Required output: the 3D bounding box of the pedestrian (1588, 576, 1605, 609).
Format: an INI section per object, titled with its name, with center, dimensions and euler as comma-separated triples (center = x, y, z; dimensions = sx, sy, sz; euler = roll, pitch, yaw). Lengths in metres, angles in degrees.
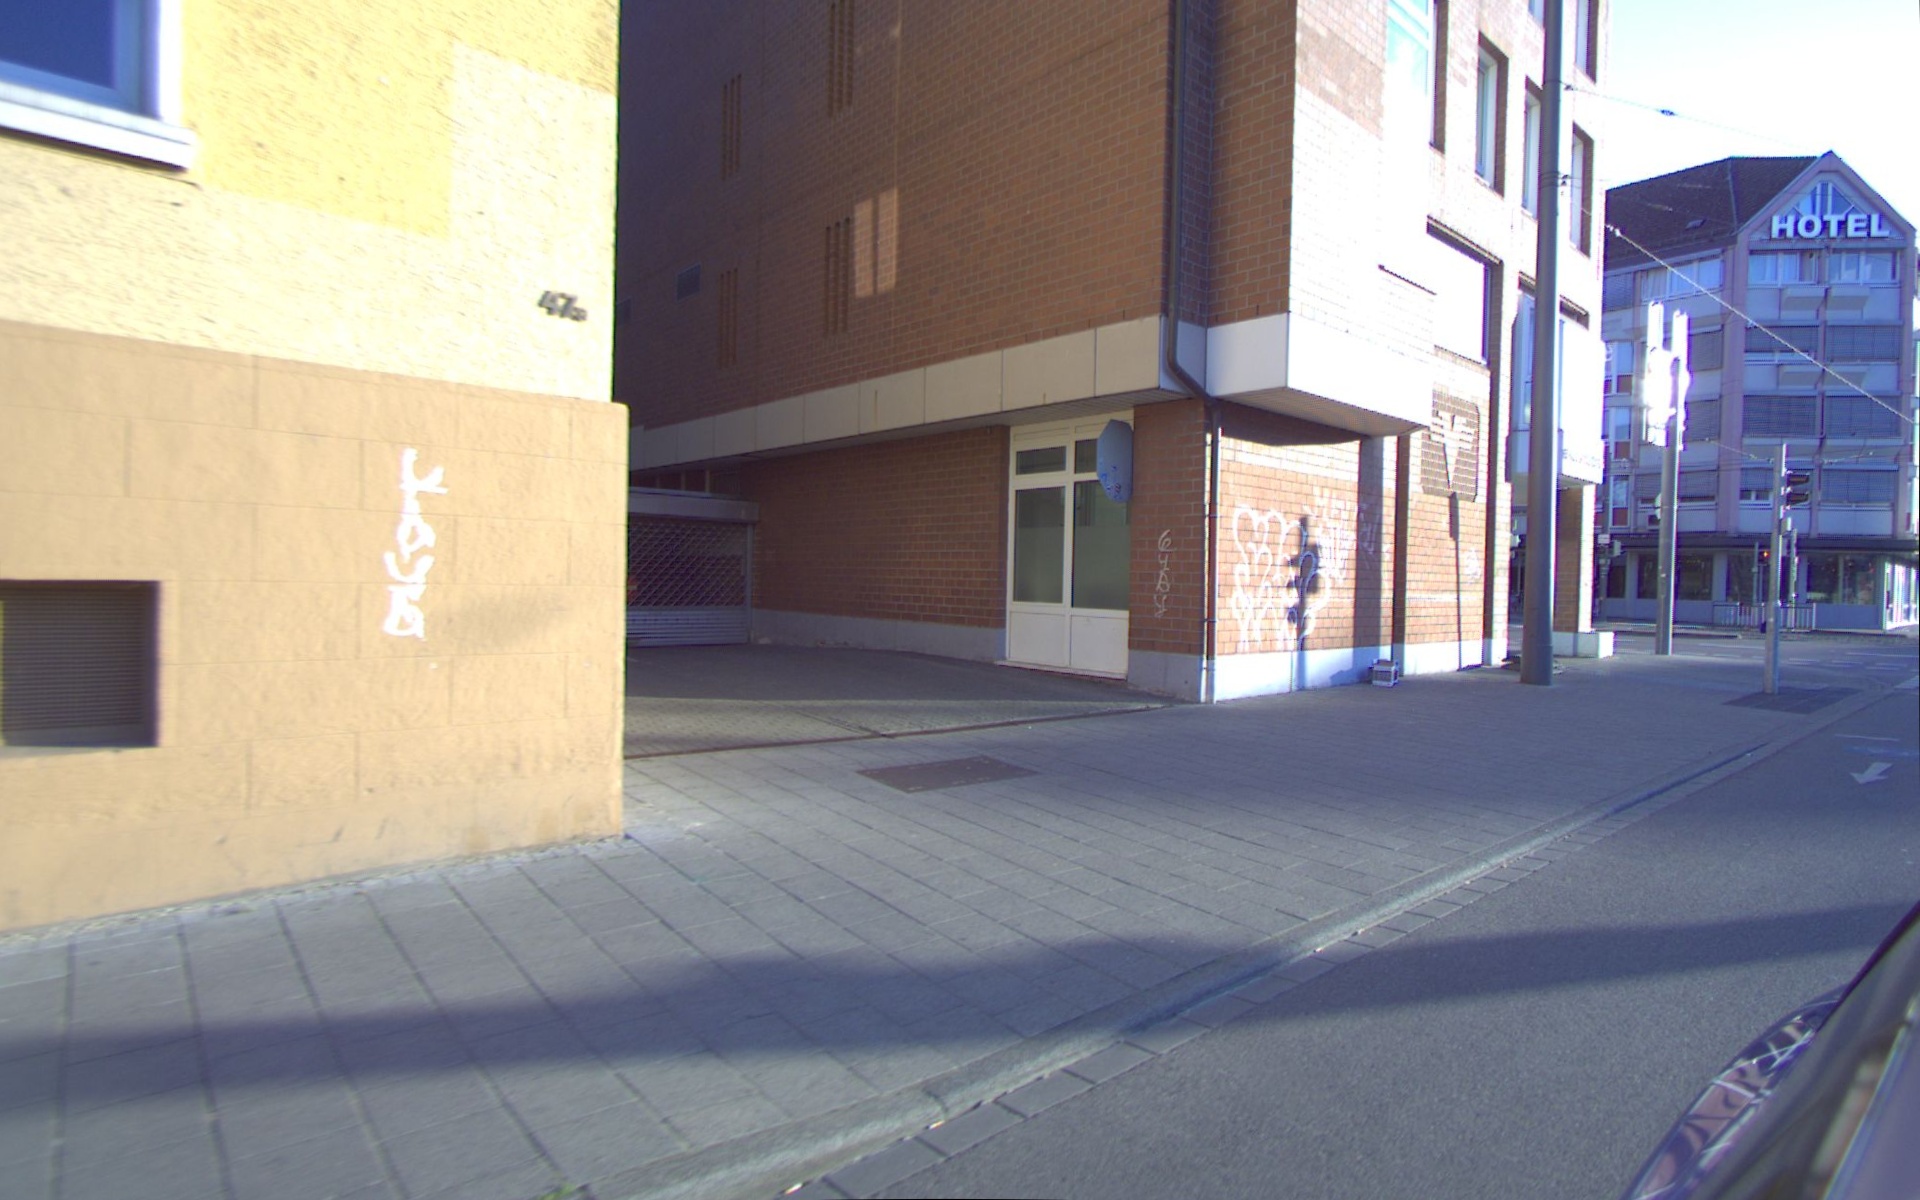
[pedestrian]
center = 29.461, -0.362, 46.846
dimensions = 0.468, 1.511, 0.472
euler = 1, 1, -3
